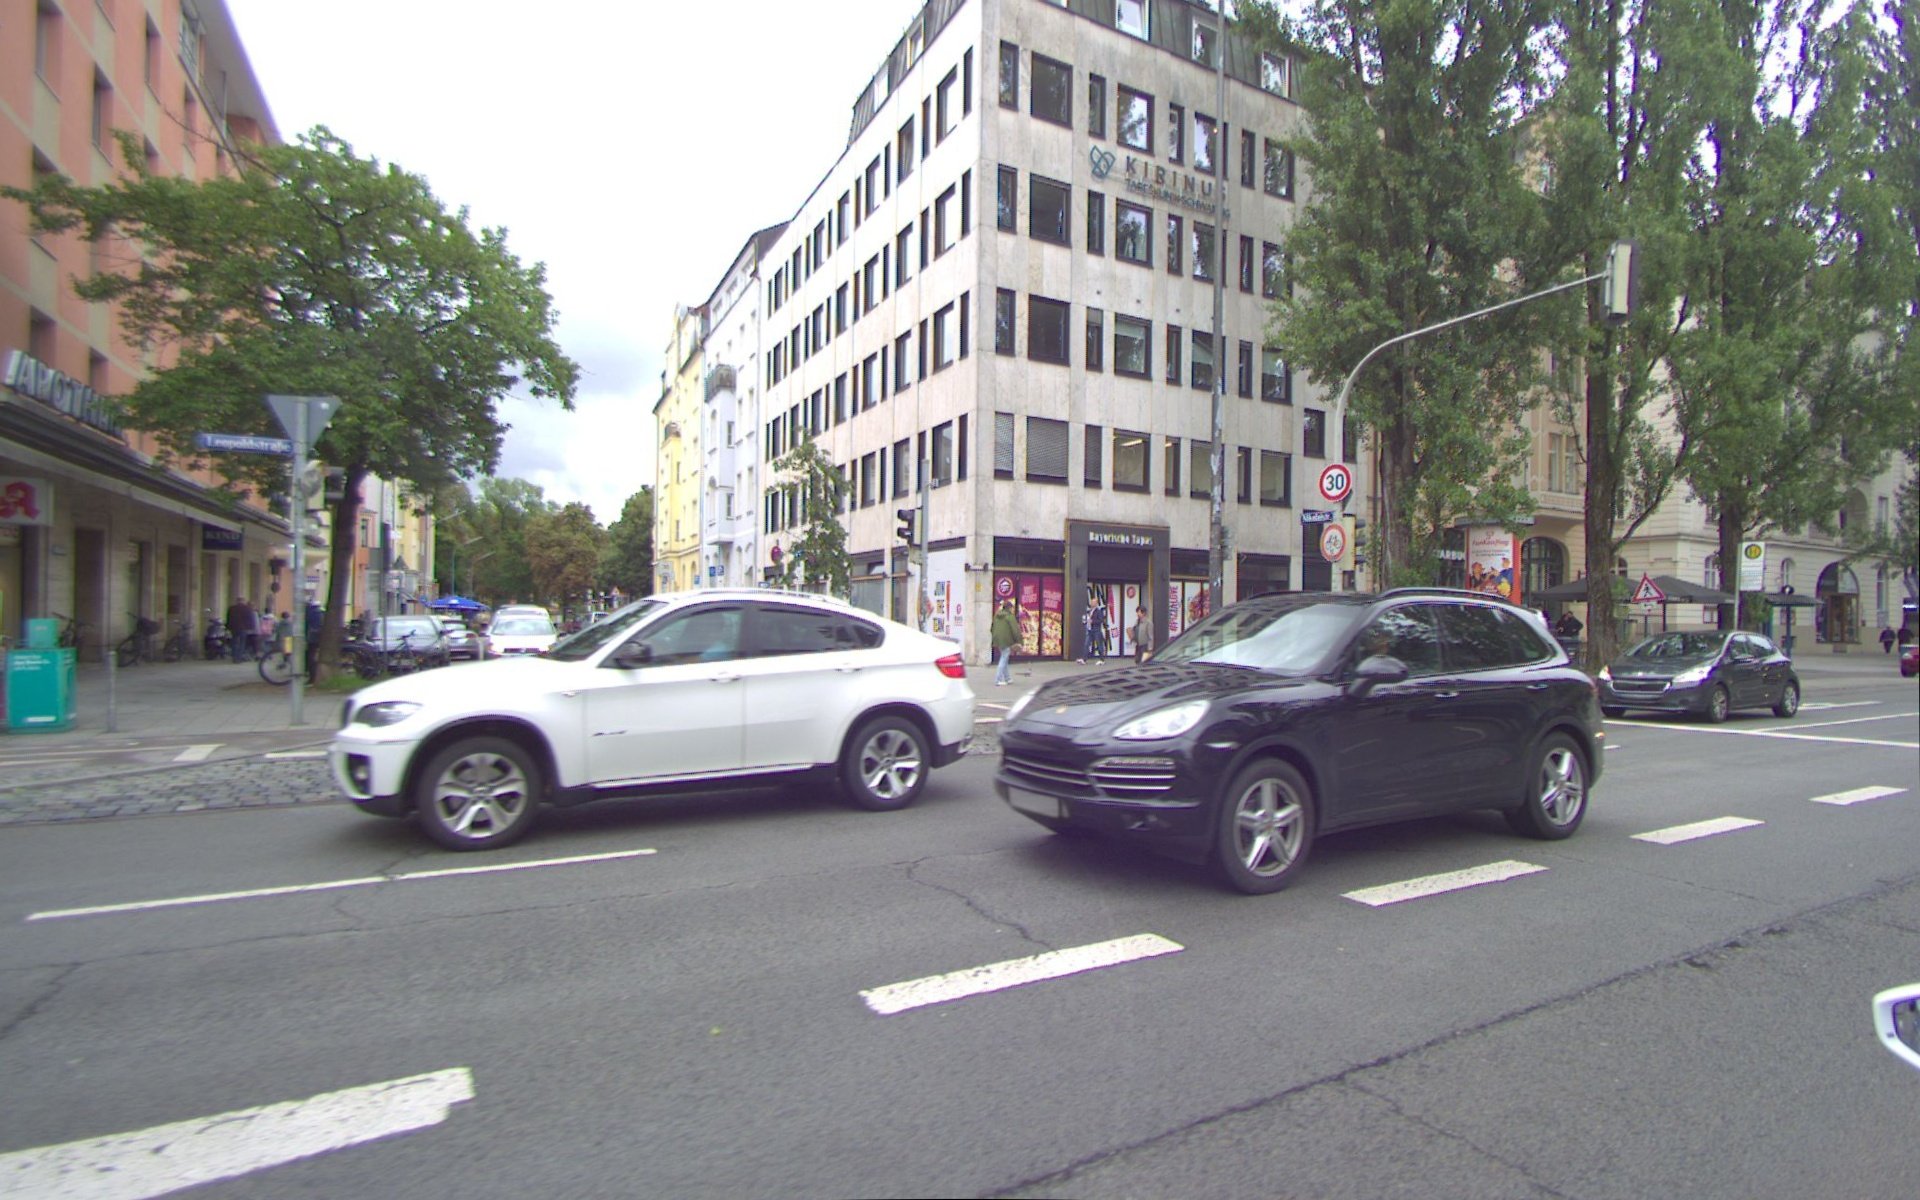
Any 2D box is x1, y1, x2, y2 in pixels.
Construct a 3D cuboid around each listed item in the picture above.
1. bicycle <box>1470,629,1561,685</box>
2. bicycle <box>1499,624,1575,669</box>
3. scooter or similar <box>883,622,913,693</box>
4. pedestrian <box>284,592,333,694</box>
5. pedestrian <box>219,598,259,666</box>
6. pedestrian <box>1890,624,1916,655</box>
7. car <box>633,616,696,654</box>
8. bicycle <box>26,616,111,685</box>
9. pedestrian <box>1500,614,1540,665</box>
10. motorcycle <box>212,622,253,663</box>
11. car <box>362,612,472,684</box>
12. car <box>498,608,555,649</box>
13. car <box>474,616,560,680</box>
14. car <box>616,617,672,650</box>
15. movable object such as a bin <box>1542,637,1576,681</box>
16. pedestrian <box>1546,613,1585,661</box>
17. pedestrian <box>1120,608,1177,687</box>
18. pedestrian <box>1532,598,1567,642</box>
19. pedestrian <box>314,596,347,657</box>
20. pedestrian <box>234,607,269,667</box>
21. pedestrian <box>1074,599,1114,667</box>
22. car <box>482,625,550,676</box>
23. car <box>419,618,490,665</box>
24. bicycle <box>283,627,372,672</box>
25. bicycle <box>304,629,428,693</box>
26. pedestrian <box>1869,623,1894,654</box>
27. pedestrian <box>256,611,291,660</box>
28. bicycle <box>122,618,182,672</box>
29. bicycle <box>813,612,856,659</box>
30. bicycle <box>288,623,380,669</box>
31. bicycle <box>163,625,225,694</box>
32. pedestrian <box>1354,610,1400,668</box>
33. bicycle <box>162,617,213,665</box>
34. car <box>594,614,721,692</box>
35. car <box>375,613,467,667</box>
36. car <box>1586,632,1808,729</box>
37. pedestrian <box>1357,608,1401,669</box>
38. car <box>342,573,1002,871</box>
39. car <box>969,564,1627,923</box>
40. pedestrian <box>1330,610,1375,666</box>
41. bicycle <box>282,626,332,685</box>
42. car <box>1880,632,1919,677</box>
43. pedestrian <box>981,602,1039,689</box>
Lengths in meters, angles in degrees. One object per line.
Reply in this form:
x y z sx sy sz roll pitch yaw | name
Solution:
13.922 1.419 25.221 1.915 1.307 0.508 2 0 17 | bicycle
15.214 1.220 26.485 1.776 1.102 0.507 2 0 -7 | bicycle
-1.250 1.130 20.132 0.430 1.357 1.363 1 -1 -10 | scooter or similar
-11.848 0.769 18.294 0.684 1.790 0.775 1 -1 -30 | pedestrian
-19.465 0.860 27.126 0.772 1.790 0.659 1 0 -31 | pedestrian
47.312 1.976 50.383 0.795 1.558 0.764 1 -1 -31 | pedestrian
-12.452 1.476 42.237 1.973 1.490 3.975 0 -2 -25 | car
-16.465 0.902 18.602 0.681 1.200 2.049 1 -1 -27 | bicycle
19.948 1.387 35.813 0.943 1.767 0.840 1 0 -30 | pedestrian
-21.828 1.255 30.161 0.681 1.153 2.049 1 -1 -27 | motorcycle
-12.616 1.069 23.559 1.755 1.439 3.980 2 0 -21 | car
-16.368 1.056 37.841 1.762 1.439 4.042 2 -1 -26 | car
-11.013 1.134 25.169 1.755 1.439 3.980 1 -1 -21 | car
-14.831 1.525 47.061 1.973 1.439 3.974 1 -1 -25 | car
15.306 1.506 25.664 0.712 1.055 0.854 2 0 31 | movable object such as a bin
22.626 1.374 37.548 0.809 1.767 0.903 1 0 -25 | pedestrian
4.016 0.995 21.386 0.924 1.640 0.774 1 -1 -31 | pedestrian
24.065 0.834 41.011 0.809 1.767 0.903 1 -1 -25 | pedestrian
-18.534 0.774 29.576 0.772 1.790 0.659 1 0 -31 | pedestrian
-20.142 1.046 28.580 0.721 1.664 0.733 1 0 -30 | pedestrian
3.634 0.897 27.245 0.810 1.811 0.696 1 0 -29 | pedestrian
-13.699 1.514 31.148 1.717 1.439 3.980 1 -1 -21 | car
-17.156 1.374 34.255 1.755 1.439 3.980 1 0 -21 | car
-17.542 1.353 27.889 2.044 1.200 0.682 1 -1 -37 | bicycle
-11.522 1.162 19.530 2.044 1.200 0.412 1 -1 -38 | bicycle
46.966 1.969 51.190 0.795 1.558 0.764 1 -1 -31 | pedestrian
-20.402 1.061 29.858 0.772 1.409 0.659 1 0 -31 | pedestrian
-18.873 1.024 23.499 0.681 1.200 2.049 1 -1 -27 | bicycle
-3.553 0.970 28.358 0.550 1.266 2.126 1 -1 -26 | bicycle
-16.935 1.237 27.192 2.044 1.200 0.682 1 -1 -37 | bicycle
-15.000 1.139 19.716 0.410 1.200 2.052 1 0 -22 | bicycle
11.845 1.103 28.551 0.978 1.588 0.746 1 0 -32 | pedestrian
-20.358 1.069 26.496 0.681 1.200 2.049 1 -1 -27 | bicycle
-6.466 1.048 21.235 1.752 1.494 3.674 1 -1 -30 | car
-15.607 1.122 29.270 1.863 1.439 3.929 1 -1 -21 | car
12.378 1.268 16.823 3.952 1.458 1.633 1 -2 -32 | car
12.831 1.176 30.765 0.901 1.811 0.796 1 1 -30 | pedestrian
-2.076 0.774 7.835 4.581 1.738 1.828 1 -2 -30 | car
2.419 0.752 6.889 4.387 1.769 1.875 1 -1 -30 | car
11.371 1.088 29.103 0.978 1.588 0.746 1 0 -32 | pedestrian
-14.776 1.235 22.767 0.530 1.200 2.052 1 0 -22 | bicycle
30.275 1.667 30.767 4.043 1.315 1.872 1 -1 -28 | car
1.048 0.950 21.143 0.931 1.763 0.723 1 0 -31 | pedestrian
